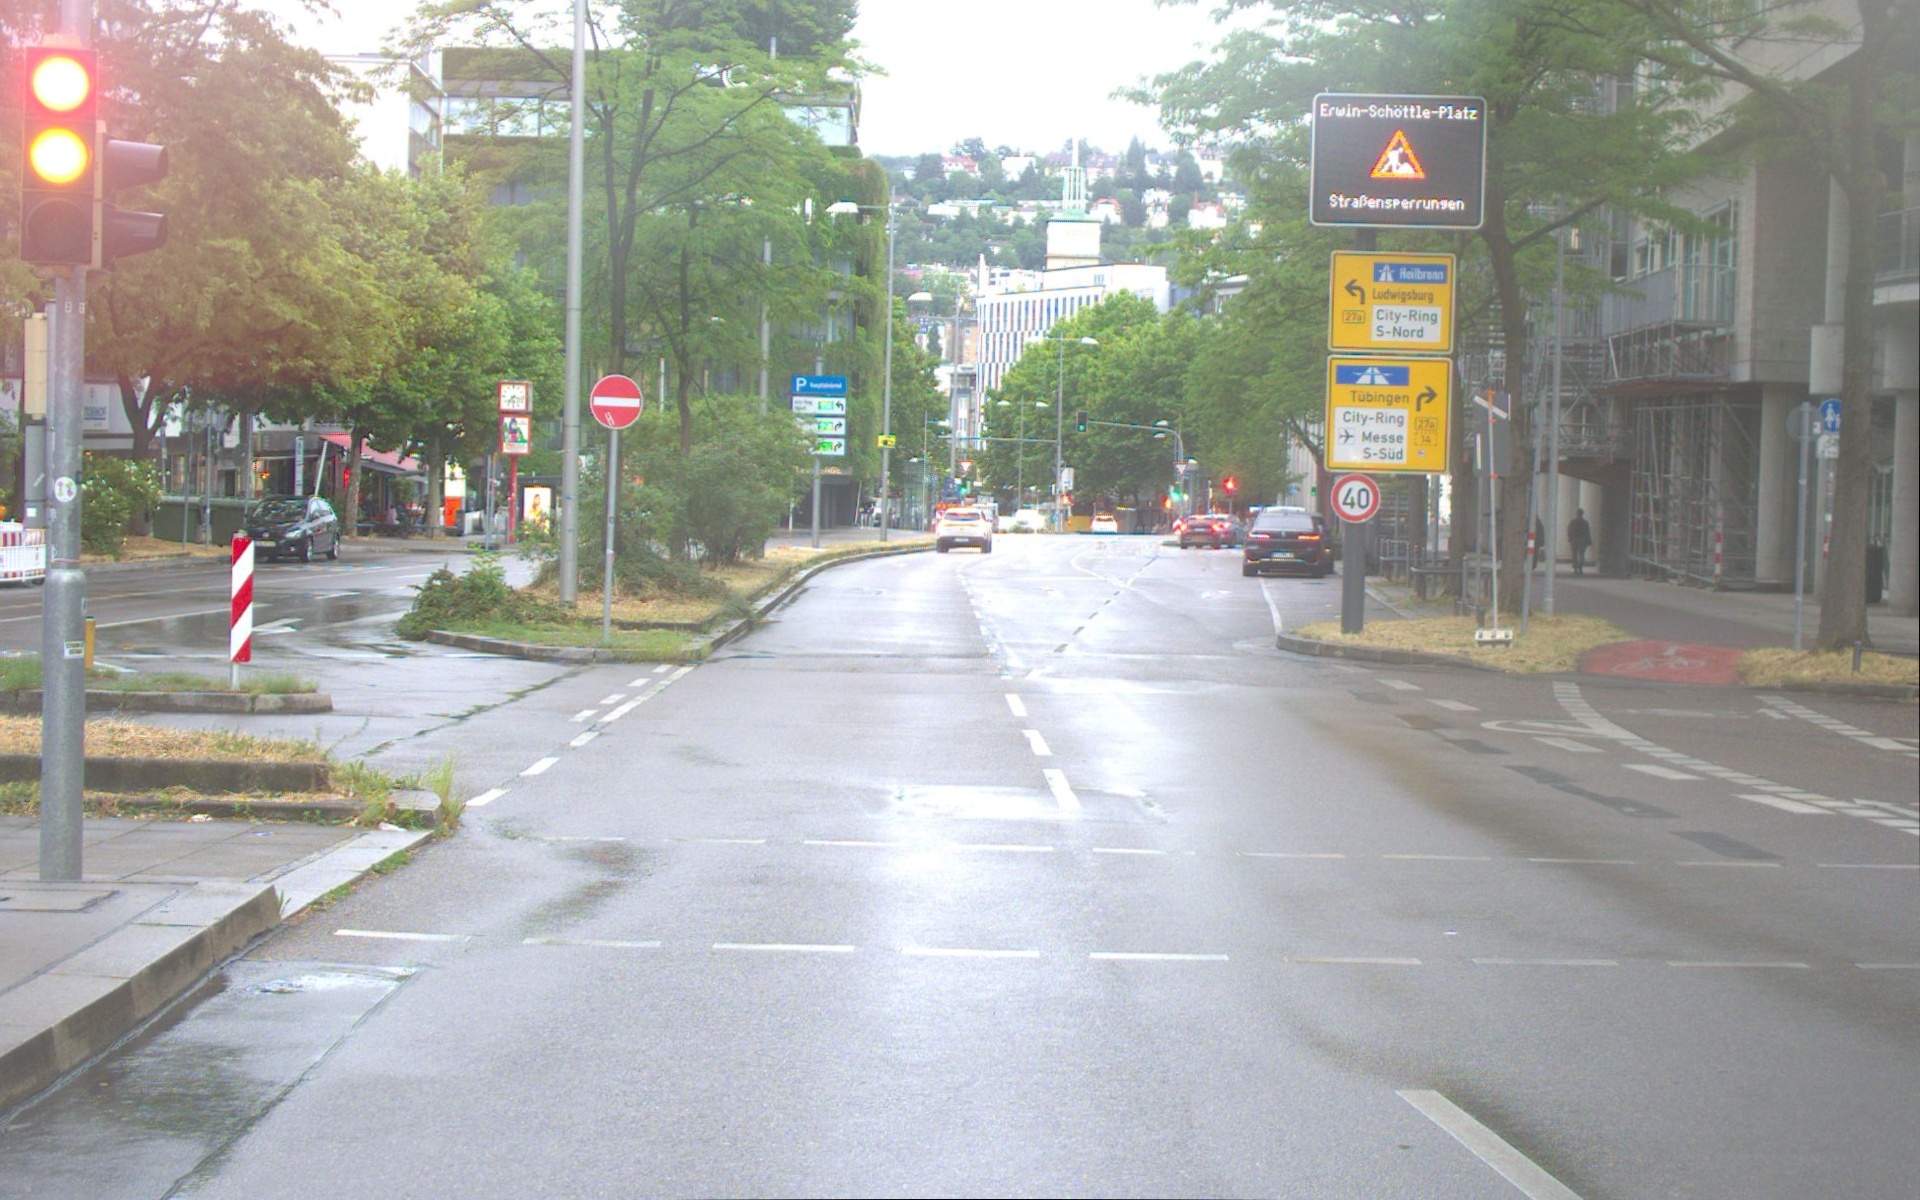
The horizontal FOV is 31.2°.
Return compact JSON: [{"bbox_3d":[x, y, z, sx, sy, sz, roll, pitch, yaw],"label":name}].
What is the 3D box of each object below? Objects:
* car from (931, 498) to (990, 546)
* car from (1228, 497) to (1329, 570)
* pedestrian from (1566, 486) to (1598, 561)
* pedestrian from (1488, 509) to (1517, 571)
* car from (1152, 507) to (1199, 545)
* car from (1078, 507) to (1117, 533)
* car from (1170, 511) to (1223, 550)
[{"bbox_3d":[0.031,-2.797,124.595,1.829,1.634,4.300,2,1,4],"label":"car"},{"bbox_3d":[7.749,-1.627,83.436,2.339,1.685,3.999,1,2,6],"label":"car"},{"bbox_3d":[16.016,-1.972,88.504,0.775,1.914,0.702,1,0,10],"label":"pedestrian"},{"bbox_3d":[17.104,-1.890,108.388,0.775,1.914,0.702,1,0,-1],"label":"pedestrian"},{"bbox_3d":[10.439,-3.582,166.811,1.993,1.730,4.000,1,0,-1],"label":"car"},{"bbox_3d":[9.422,-5.482,235.786,1.993,1.752,4.001,2,1,-6],"label":"car"},{"bbox_3d":[10.697,-3.136,155.598,1.993,1.718,4.000,1,0,-1],"label":"car"}]
